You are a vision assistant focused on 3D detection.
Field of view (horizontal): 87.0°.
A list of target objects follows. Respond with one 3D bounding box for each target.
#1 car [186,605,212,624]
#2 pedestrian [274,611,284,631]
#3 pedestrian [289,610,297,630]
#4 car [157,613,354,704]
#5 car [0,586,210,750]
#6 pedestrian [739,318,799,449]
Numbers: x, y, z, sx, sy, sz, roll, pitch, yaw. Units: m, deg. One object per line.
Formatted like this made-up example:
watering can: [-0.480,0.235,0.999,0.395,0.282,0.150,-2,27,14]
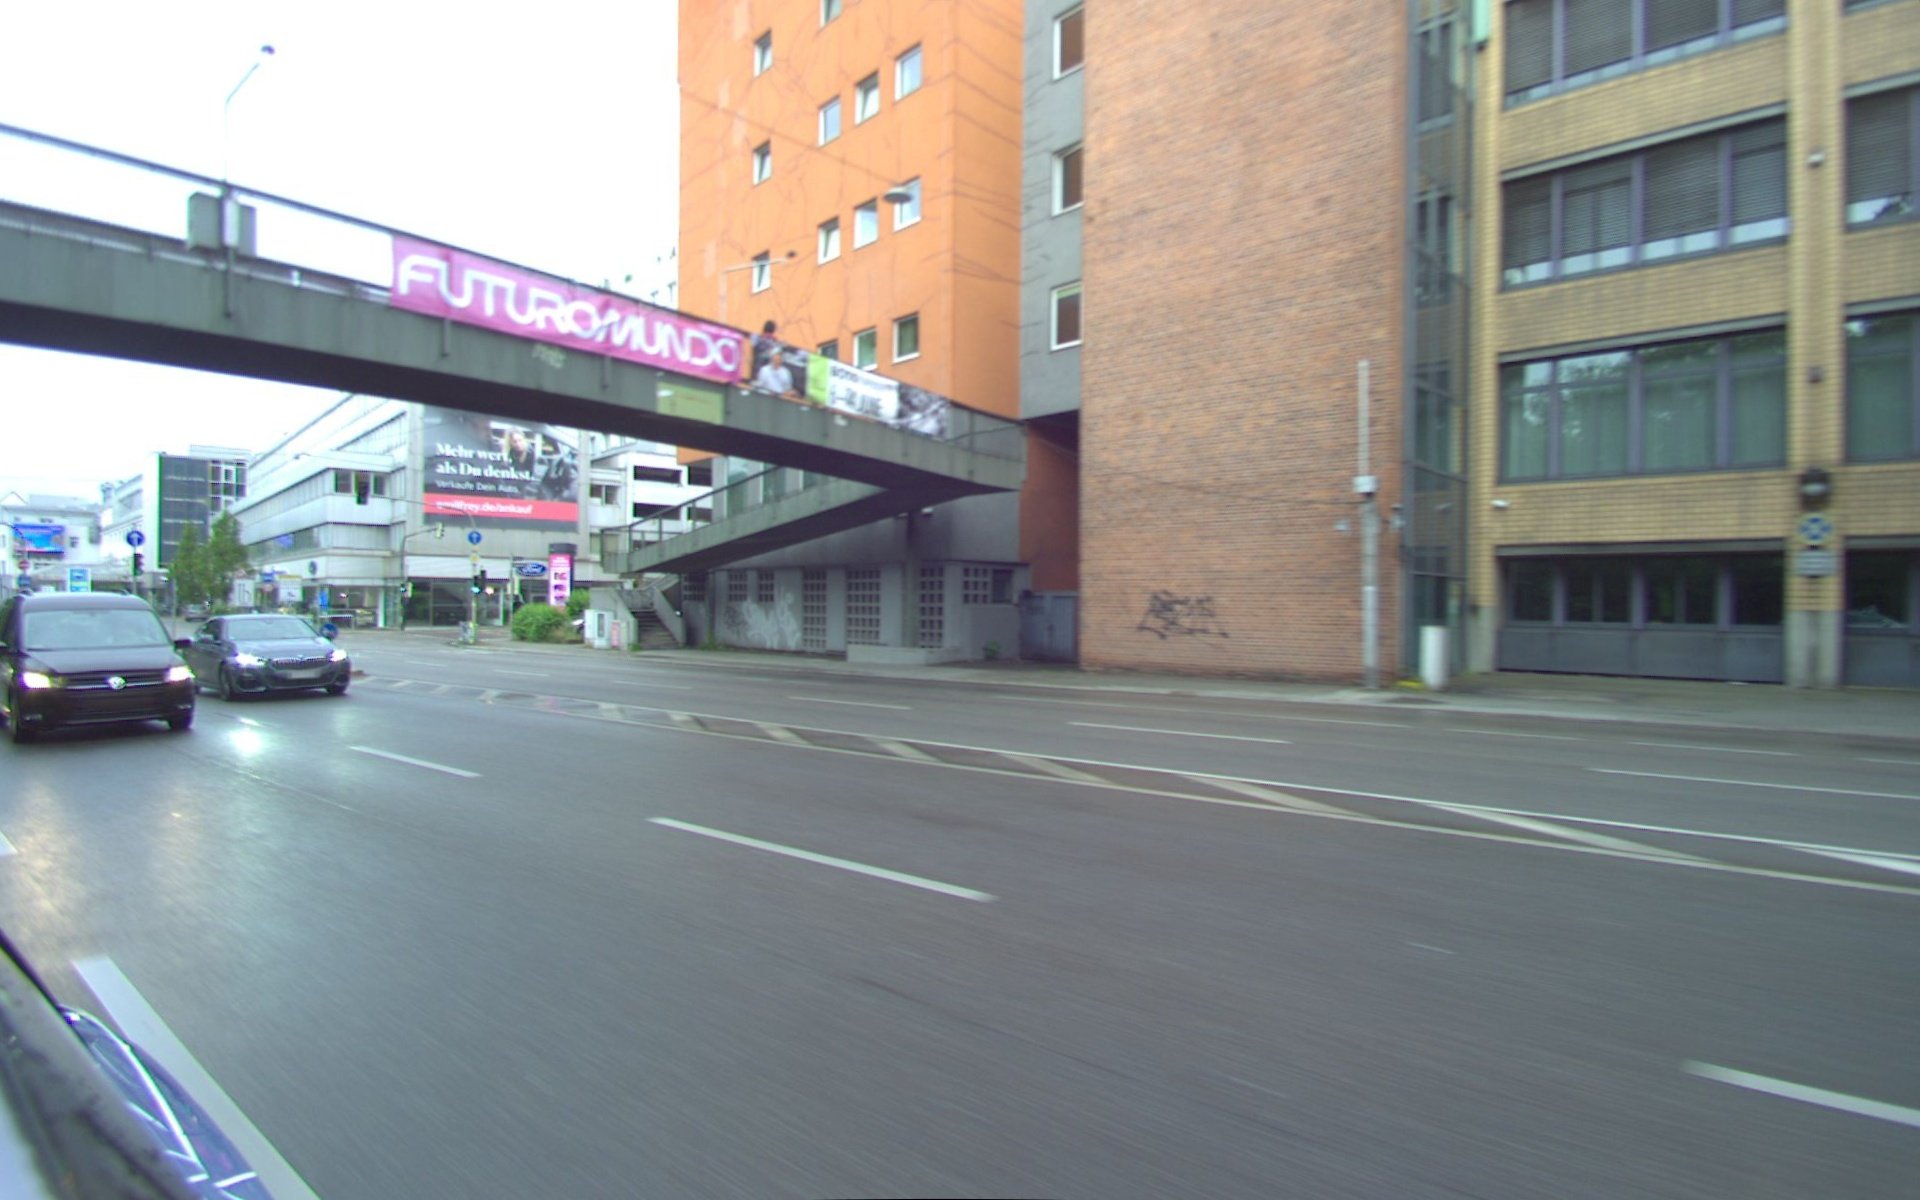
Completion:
car: [-77.302,1.444,102.776,1.856,1.881,4.006,-1,0,-40]
pedestrian: [-52.557,1.591,78.081,0.567,1.542,0.454,0,0,-44]
pedestrian: [-51.829,1.571,78.581,0.431,1.542,0.514,0,0,-44]
car: [-12.724,1.024,18.167,4.533,1.426,1.649,-3,-1,38]
car: [-11.444,0.779,13.203,3.998,1.804,1.818,-1,0,41]
pedestrian: [-3.661,-4.118,19.427,0.737,2.272,0.823,0,-2,36]
